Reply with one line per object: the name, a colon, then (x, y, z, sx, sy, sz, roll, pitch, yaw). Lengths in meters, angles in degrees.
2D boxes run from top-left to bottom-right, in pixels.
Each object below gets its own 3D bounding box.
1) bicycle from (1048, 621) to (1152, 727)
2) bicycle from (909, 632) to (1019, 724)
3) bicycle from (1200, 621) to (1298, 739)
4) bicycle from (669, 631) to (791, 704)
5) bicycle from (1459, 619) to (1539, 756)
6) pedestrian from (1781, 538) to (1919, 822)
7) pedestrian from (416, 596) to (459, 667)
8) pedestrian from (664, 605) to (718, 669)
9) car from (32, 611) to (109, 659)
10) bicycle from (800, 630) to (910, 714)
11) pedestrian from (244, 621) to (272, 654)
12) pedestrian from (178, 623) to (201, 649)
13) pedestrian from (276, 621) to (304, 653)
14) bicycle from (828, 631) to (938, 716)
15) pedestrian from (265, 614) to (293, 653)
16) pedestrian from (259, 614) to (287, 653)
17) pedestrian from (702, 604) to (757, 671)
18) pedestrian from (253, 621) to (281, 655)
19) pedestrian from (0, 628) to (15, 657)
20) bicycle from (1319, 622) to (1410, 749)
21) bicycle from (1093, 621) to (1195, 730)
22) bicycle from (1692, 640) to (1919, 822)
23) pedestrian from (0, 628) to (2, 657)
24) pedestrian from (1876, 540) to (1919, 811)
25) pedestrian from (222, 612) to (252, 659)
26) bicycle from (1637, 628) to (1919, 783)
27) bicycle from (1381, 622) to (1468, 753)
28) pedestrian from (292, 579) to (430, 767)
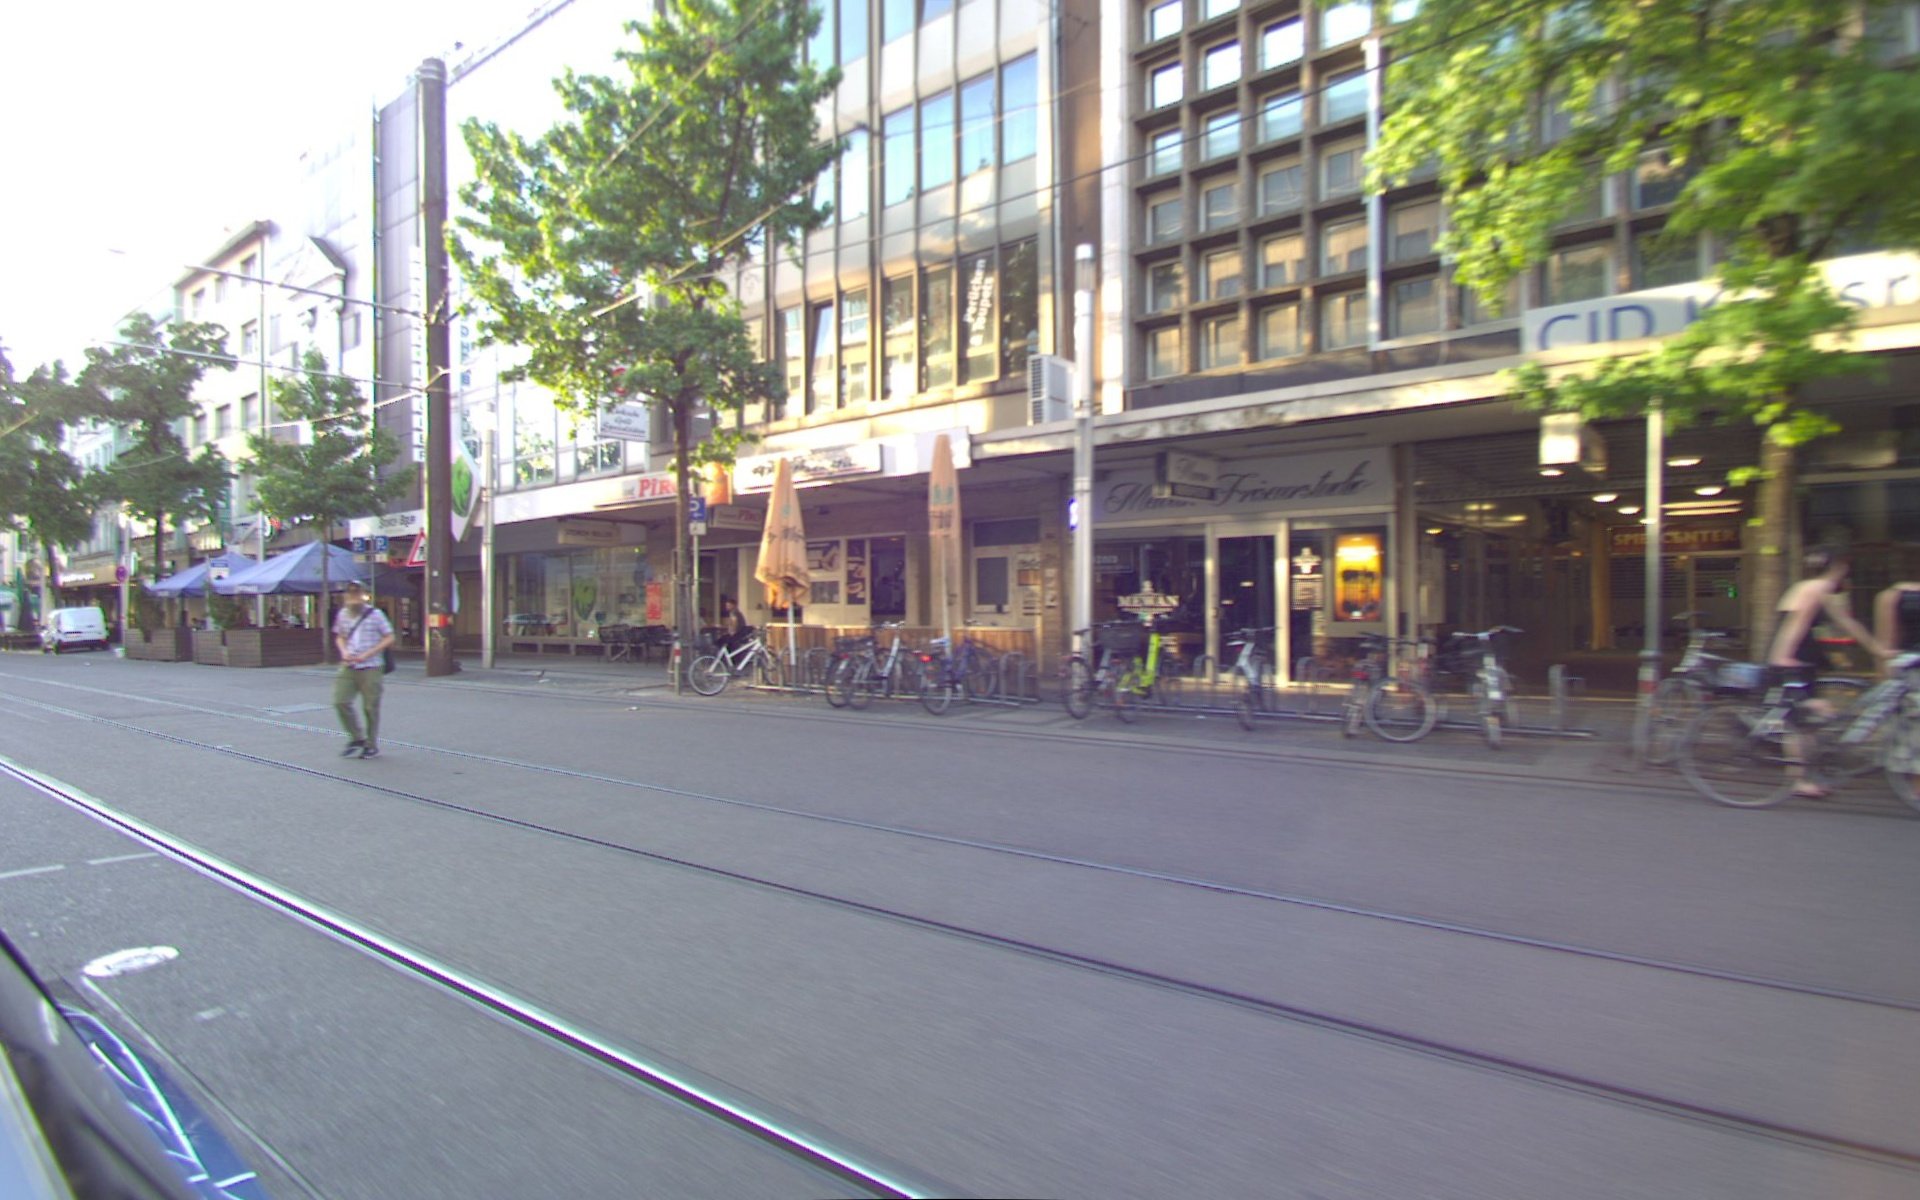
bicycle: (1.686, 0.836, 11.985, 0.488, 1.079, 1.758, -2, 0, 33)
bicycle: (0.084, 0.945, 12.790, 0.488, 0.997, 1.758, -3, 0, 33)
bicycle: (3.141, 0.815, 10.897, 0.488, 1.079, 1.758, -2, 0, 33)
bicycle: (-3.524, 1.013, 15.585, 1.748, 0.973, 0.491, -2, 1, -35)
bicycle: (5.025, 0.757, 9.387, 0.488, 1.079, 1.758, -2, 0, 33)
pedestrian: (5.757, 0.478, 6.457, 0.592, 1.712, 0.537, -1, -1, -22)
pedestrian: (-13.911, 0.826, 26.949, 0.991, 1.806, 0.676, -1, 2, 45)
pedestrian: (-5.836, 0.788, 21.969, 0.911, 1.335, 0.664, -1, 2, 37)
car: (-37.682, 1.464, 42.845, 4.326, 1.835, 1.808, -2, 2, 41)
bicycle: (-1.424, 0.967, 14.008, 0.488, 0.997, 1.758, -3, 0, 33)
pedestrian: (-26.326, 1.405, 37.945, 0.664, 1.165, 0.635, -1, 2, 37)
pedestrian: (-35.538, 1.666, 46.681, 0.648, 1.184, 0.643, -1, 0, 34)
pedestrian: (-25.127, 1.387, 37.963, 0.664, 1.165, 0.635, -1, 2, 37)
bicycle: (-1.008, 0.961, 13.683, 0.488, 0.997, 1.758, -3, 0, 33)
pedestrian: (-26.389, 1.292, 39.238, 0.642, 1.444, 0.655, 0, 4, 39)
pedestrian: (-26.954, 1.300, 39.682, 0.642, 1.444, 0.655, 0, 4, 39)
pedestrian: (-4.852, 0.771, 21.288, 0.911, 1.335, 0.664, -1, 2, 37)
pedestrian: (-25.512, 1.394, 37.243, 0.664, 1.165, 0.635, -1, 2, 37)
pedestrian: (-48.029, 2.127, 50.810, 0.639, 1.471, 0.652, 0, -1, -21)
bicycle: (4.068, 0.801, 10.105, 0.488, 1.079, 1.758, -2, 0, 33)
bicycle: (2.147, 0.829, 11.638, 0.488, 1.079, 1.758, -2, 0, 33)
bicycle: (5.650, 0.786, 6.267, 1.774, 1.053, 0.483, -2, -1, 36)
pedestrian: (-48.934, 2.140, 51.180, 0.649, 1.471, 0.641, -2, -1, 39)
pedestrian: (6.351, 0.470, 6.426, 0.592, 1.712, 0.537, -1, -1, -22)
pedestrian: (-24.809, 1.201, 34.726, 0.564, 1.564, 0.650, -1, 2, 37)
bicycle: (6.165, 0.754, 7.583, 1.774, 1.053, 0.483, -2, -1, 36)
bicycle: (4.525, 0.794, 9.805, 0.488, 1.079, 1.758, -2, 0, 33)
pedestrian: (-6.103, 0.701, 10.375, 0.810, 1.806, 0.992, -2, 1, -6)
